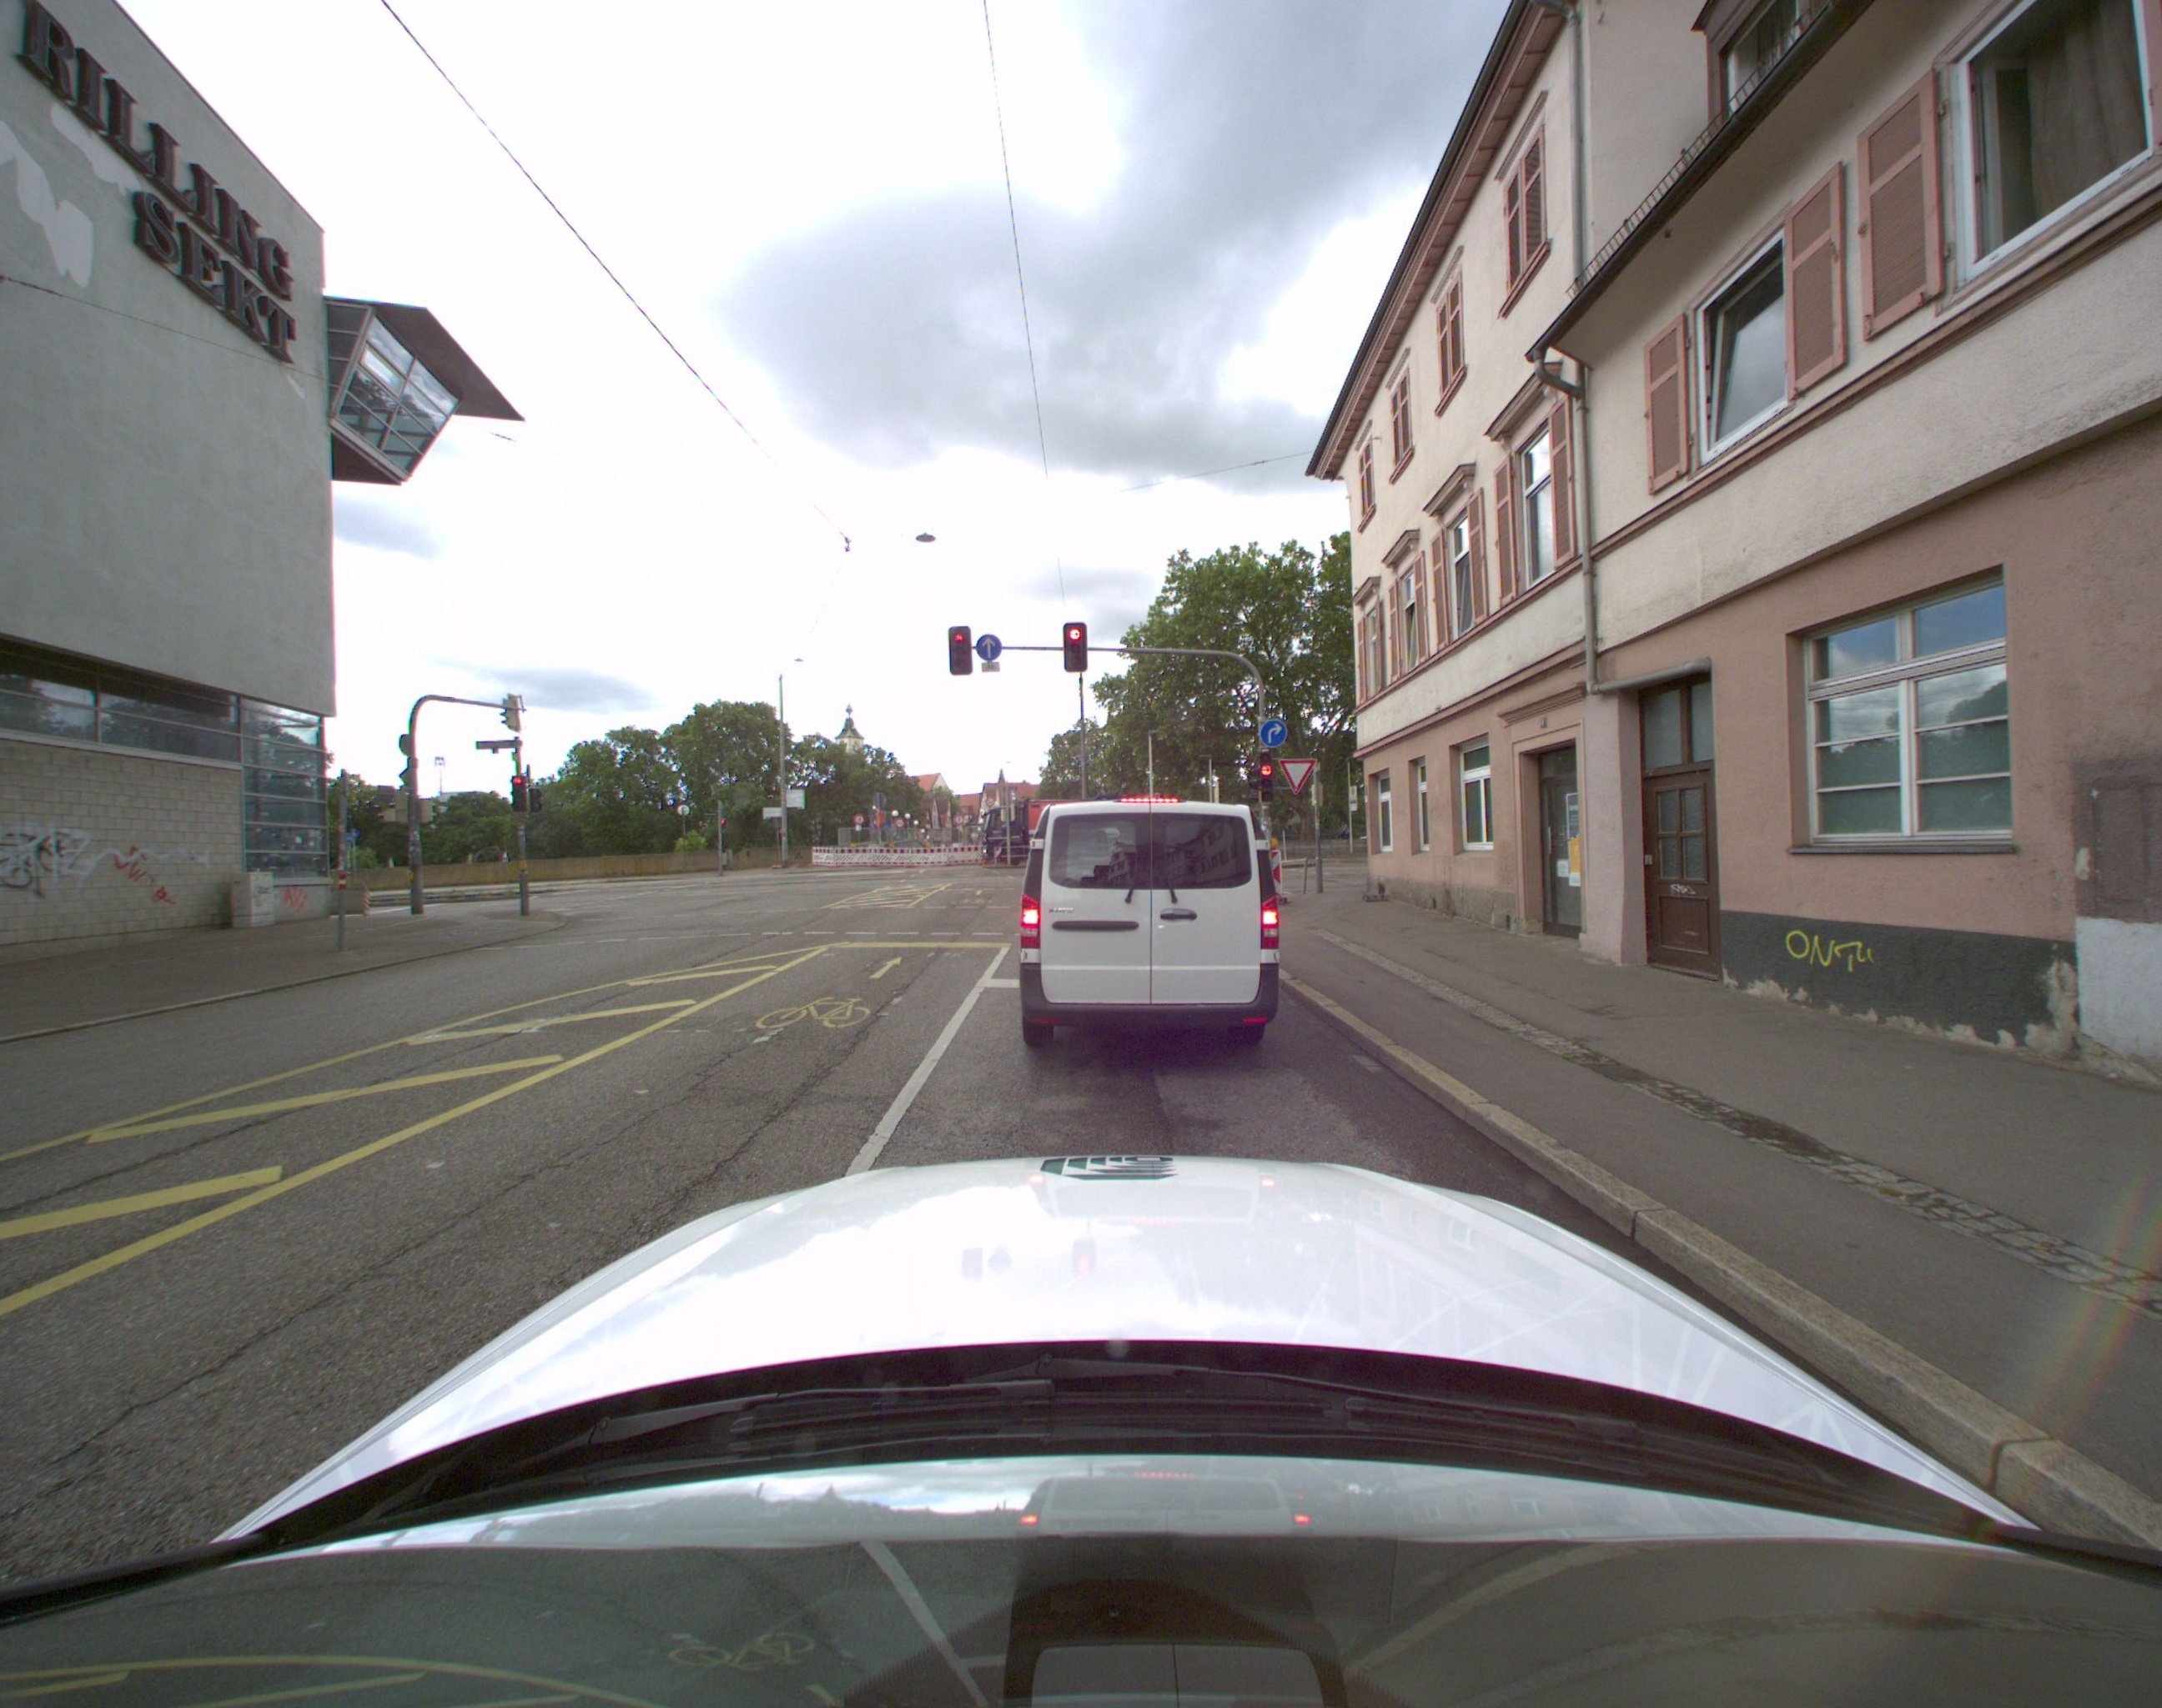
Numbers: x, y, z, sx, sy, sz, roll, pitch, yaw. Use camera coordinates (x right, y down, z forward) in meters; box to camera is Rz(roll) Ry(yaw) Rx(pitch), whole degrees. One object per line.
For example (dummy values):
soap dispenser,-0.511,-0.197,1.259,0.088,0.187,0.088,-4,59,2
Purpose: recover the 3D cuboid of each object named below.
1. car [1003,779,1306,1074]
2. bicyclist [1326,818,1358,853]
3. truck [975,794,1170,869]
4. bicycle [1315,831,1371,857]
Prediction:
car,0.490,0.416,7.497,1.987,1.922,4.249,-1,2,0
bicyclist,16.873,-1.197,52.651,1.565,2.156,1.242,-2,0,-12
truck,-0.503,-1.189,43.414,10.180,3.696,2.264,-1,0,-8
bicycle,16.918,-0.656,52.657,3.147,1.569,1.464,-2,0,-12
